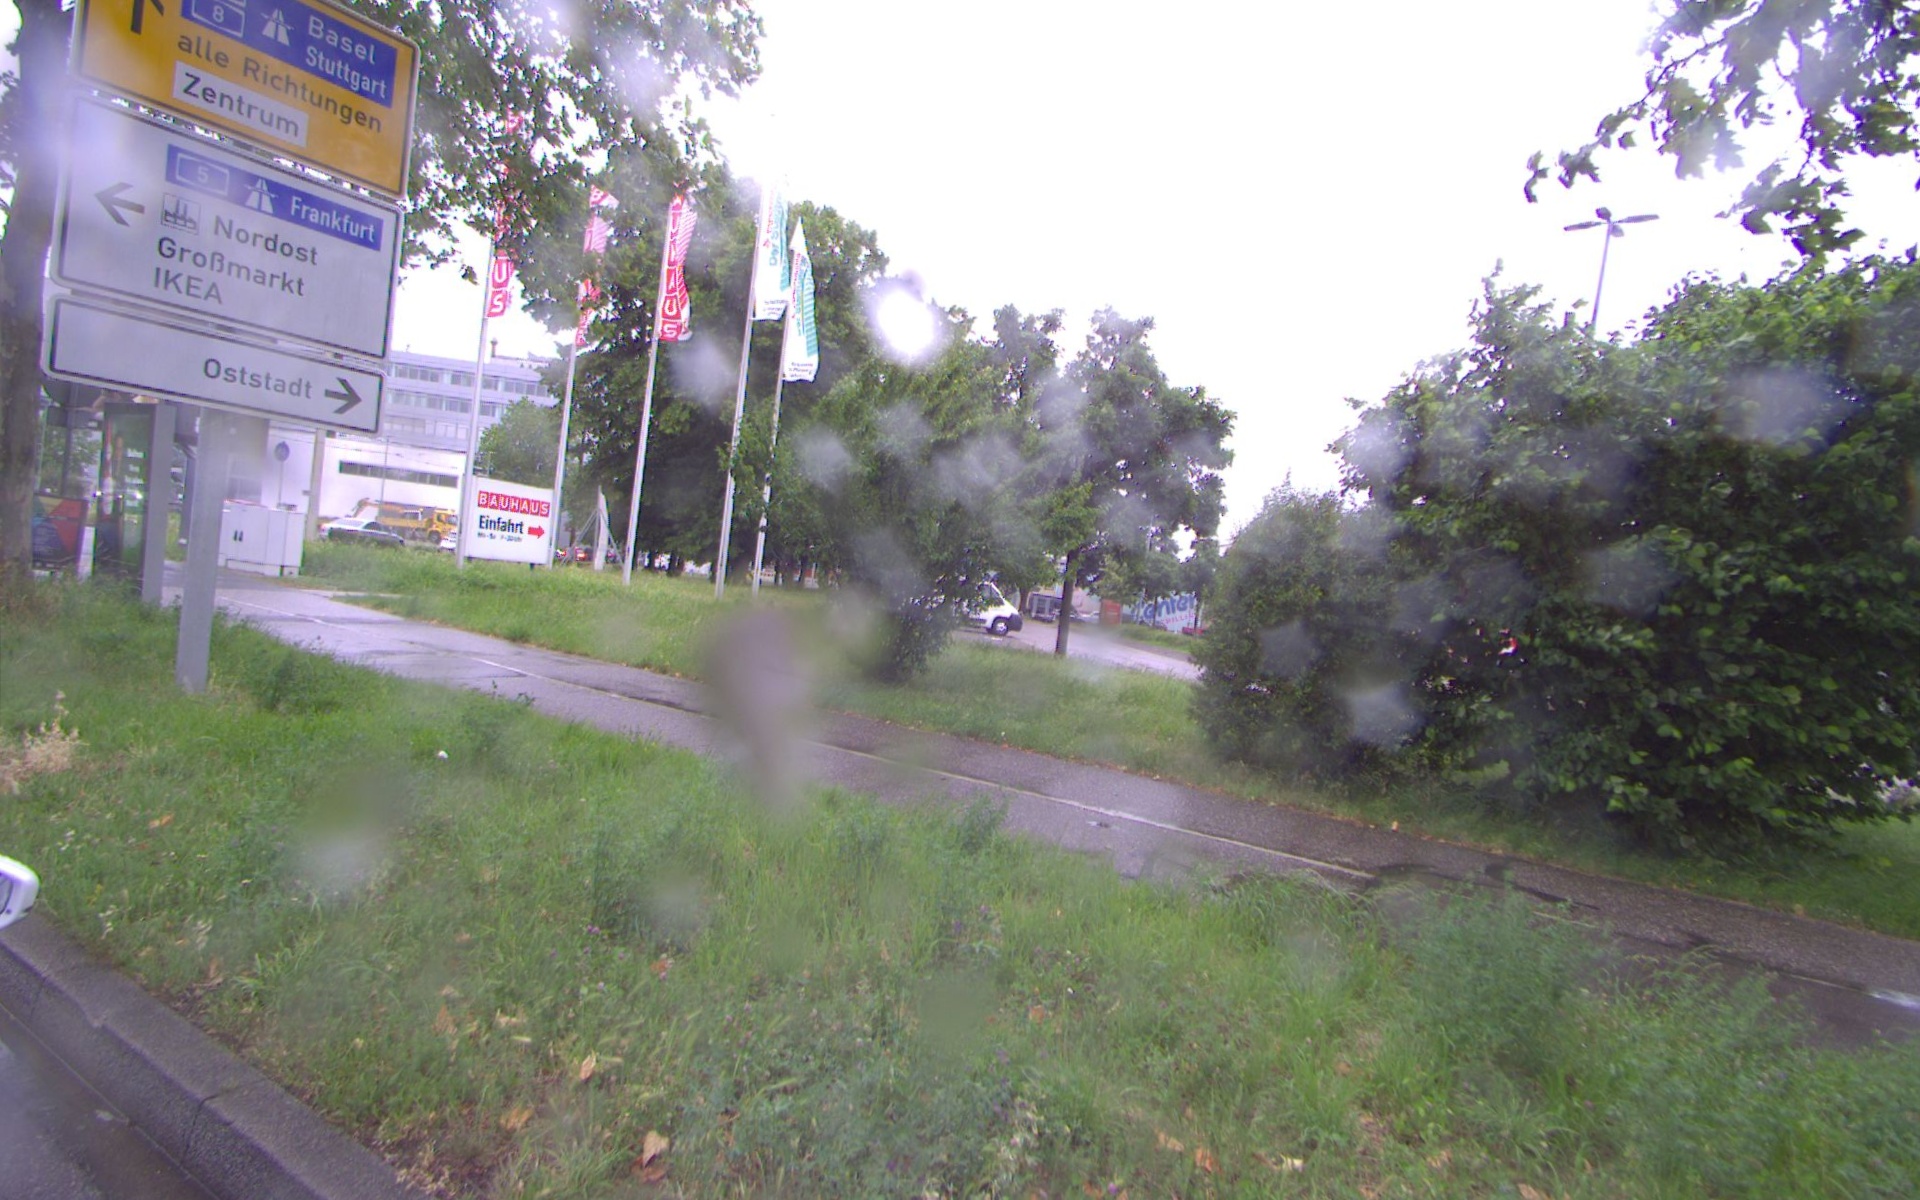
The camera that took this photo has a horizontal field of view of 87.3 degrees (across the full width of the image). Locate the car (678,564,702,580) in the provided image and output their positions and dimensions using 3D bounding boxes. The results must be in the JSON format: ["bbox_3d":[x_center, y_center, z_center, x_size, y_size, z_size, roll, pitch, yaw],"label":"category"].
[{"bbox_3d":[-32.784,-3.429,122.295,1.892,1.606,4.623,6,0,-4],"label":"car"}]

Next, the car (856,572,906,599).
[{"bbox_3d":[-7.853,-1.449,100.591,4.670,2.241,1.964,6,1,-2],"label":"car"}]

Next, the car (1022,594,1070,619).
[{"bbox_3d":[8.860,0.636,103.901,4.613,2.039,1.999,7,1,1],"label":"car"}]

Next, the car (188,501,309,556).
[{"bbox_3d":[-26.451,-2.632,37.564,1.647,1.508,3.817,7,-1,0],"label":"car"}]

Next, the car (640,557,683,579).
[{"bbox_3d":[-28.349,-2.984,95.661,1.890,1.606,4.628,6,0,11],"label":"car"}]

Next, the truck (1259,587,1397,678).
[{"bbox_3d":[16.705,1.332,46.401,2.508,3.513,8.008,8,0,-4],"label":"truck"}]

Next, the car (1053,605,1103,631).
[{"bbox_3d":[11.912,1.847,101.733,4.612,2.038,2.001,7,0,3],"label":"car"}]

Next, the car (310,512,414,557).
[{"bbox_3d":[-27.271,-2.962,46.107,1.892,1.509,4.828,6,0,-2],"label":"car"}]

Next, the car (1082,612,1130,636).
[{"bbox_3d":[15.580,2.552,107.564,4.612,2.038,2.001,7,0,3],"label":"car"}]

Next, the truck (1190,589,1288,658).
[{"bbox_3d":[16.523,1.329,60.311,2.507,3.511,9.397,8,0,-2],"label":"truck"}]

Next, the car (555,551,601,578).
[{"bbox_3d":[-28.816,-2.656,76.022,1.892,1.606,4.623,6,0,-4],"label":"car"}]

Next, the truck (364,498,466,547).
[{"bbox_3d":[-52.671,-7.444,97.335,7.747,3.552,3.325,7,1,-4],"label":"truck"}]

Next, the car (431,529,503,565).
[{"bbox_3d":[-27.945,-2.992,57.232,1.892,1.606,4.623,6,0,-3],"label":"car"}]

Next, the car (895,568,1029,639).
[{"bbox_3d":[0.027,0.140,40.917,5.015,2.232,2.188,7,1,-9],"label":"car"}]

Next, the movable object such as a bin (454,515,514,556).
[{"bbox_3d":[-50.178,-6.727,106.153,3.268,3.552,6.316,6,1,-3],"label":"movable object such as a bin"}]

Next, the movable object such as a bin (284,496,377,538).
[{"bbox_3d":[-60.586,-7.929,97.011,6.601,3.034,3.324,7,1,-4],"label":"movable object such as a bin"}]

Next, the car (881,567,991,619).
[{"bbox_3d":[-1.389,-0.412,57.642,5.955,2.232,2.190,7,1,-2],"label":"car"}]

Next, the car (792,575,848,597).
[{"bbox_3d":[-15.412,-1.588,111.068,5.853,1.754,2.276,6,1,-3],"label":"car"}]
